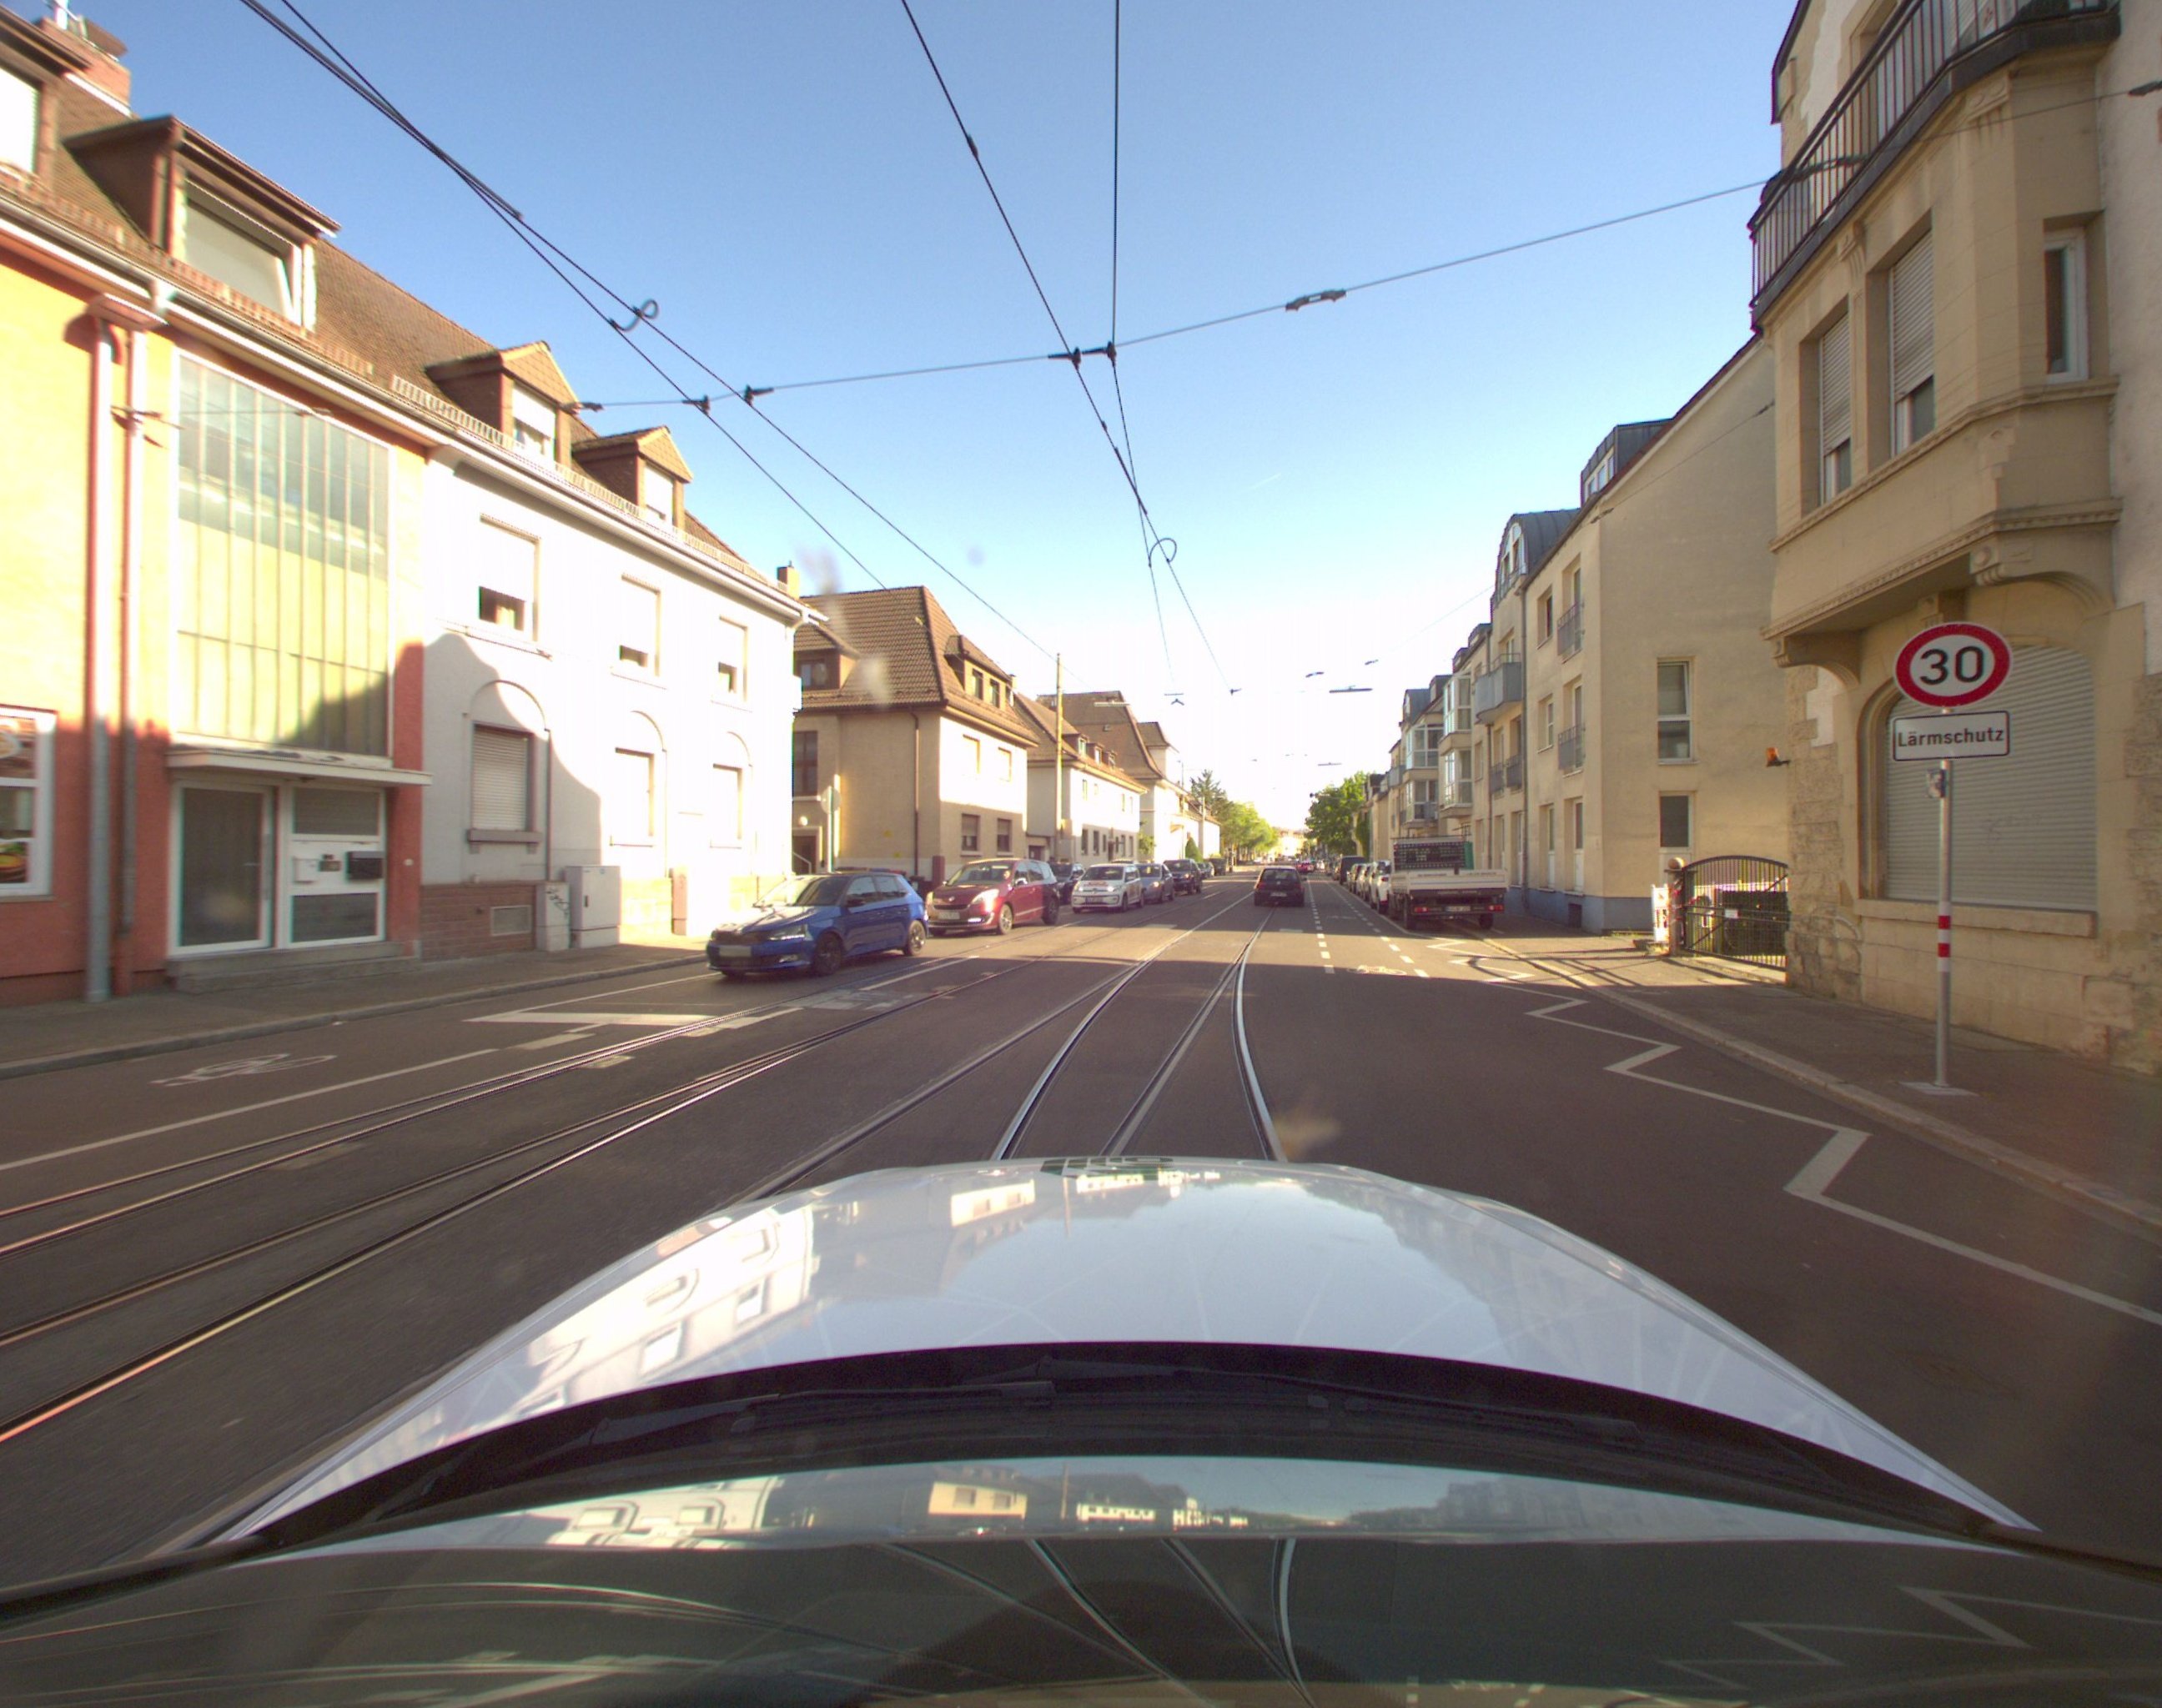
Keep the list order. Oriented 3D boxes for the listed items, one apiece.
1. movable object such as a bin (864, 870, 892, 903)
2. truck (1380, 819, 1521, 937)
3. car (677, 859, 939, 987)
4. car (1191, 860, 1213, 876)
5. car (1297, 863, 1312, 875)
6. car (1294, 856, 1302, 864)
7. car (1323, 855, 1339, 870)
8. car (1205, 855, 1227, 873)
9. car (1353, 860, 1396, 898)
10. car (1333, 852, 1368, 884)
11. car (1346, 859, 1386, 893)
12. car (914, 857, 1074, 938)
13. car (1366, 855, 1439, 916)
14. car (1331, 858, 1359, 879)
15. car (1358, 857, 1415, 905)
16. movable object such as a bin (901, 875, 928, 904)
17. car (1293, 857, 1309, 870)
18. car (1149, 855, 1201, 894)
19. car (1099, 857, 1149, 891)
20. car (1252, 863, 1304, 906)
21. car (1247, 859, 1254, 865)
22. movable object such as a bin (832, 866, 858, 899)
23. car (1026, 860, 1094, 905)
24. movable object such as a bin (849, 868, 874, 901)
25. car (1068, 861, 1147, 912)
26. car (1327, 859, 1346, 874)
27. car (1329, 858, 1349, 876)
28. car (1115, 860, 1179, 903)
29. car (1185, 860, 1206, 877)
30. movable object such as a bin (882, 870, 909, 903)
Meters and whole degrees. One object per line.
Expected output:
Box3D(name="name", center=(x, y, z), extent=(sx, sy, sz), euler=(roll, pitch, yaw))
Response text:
Box3D(name="movable object such as a bin", center=(-7.030, 1.120, 28.267), extent=(0.637, 1.111, 0.675), euler=(2, 0, 15))
Box3D(name="truck", center=(8.976, 0.517, 20.408), extent=(2.278, 2.477, 6.171), euler=(-1, 0, 15))
Box3D(name="car", center=(-3.824, 0.899, 12.200), extent=(1.670, 1.567, 3.946), euler=(-3, -1, 17))
Box3D(name="car", center=(11.722, 1.300, 78.802), extent=(1.664, 1.477, 3.851), euler=(1, 0, 15))
Box3D(name="car", center=(28.106, 1.863, 102.502), extent=(1.727, 1.441, 3.825), euler=(0, 0, 15))
Box3D(name="car", center=(52.104, 1.336, 195.406), extent=(1.775, 1.859, 4.015), euler=(2, 0, 14))
Box3D(name="car", center=(28.259, 0.954, 92.105), extent=(1.653, 1.564, 3.786), euler=(1, 0, 15))
Box3D(name="car", center=(15.313, 1.107, 92.292), extent=(1.891, 2.014, 4.970), euler=(1, 0, 16))
Box3D(name="car", center=(13.156, 1.088, 36.599), extent=(1.486, 1.557, 3.378), euler=(1, 0, 14))
Box3D(name="car", center=(18.056, 0.898, 54.664), extent=(1.892, 1.987, 4.580), euler=(1, 0, 14))
Box3D(name="car", center=(14.191, 1.059, 40.626), extent=(1.543, 1.557, 3.666), euler=(1, 0, 14))
Box3D(name="car", center=(-1.810, 0.910, 18.702), extent=(1.724, 1.611, 4.737), euler=(-2, -1, 19))
Box3D(name="car", center=(10.291, 0.935, 26.350), extent=(1.726, 1.746, 4.273), euler=(1, 0, 15))
Box3D(name="car", center=(21.435, 1.119, 66.248), extent=(1.732, 1.599, 4.449), euler=(1, 0, 13))
Box3D(name="car", center=(11.717, 0.971, 31.444), extent=(1.591, 1.700, 4.005), euler=(1, 0, 14))
Box3D(name="movable object such as a bin", center=(-5.723, 1.214, 28.007), extent=(0.653, 0.944, 0.584), euler=(2, 0, 15))
Box3D(name="car", center=(25.067, 1.081, 92.713), extent=(1.622, 1.372, 3.773), euler=(-1, 0, 16))
Box3D(name="car", center=(4.364, 0.909, 37.258), extent=(1.691, 1.705, 4.381), euler=(-1, -1, 15))
Box3D(name="car", center=(2.352, 1.045, 43.446), extent=(1.749, 1.705, 4.573), euler=(-2, -1, 14))
Box3D(name="car", center=(7.185, 1.044, 29.445), extent=(1.703, 1.402, 4.022), euler=(1, 0, 15))
Box3D(name="car", center=(41.370, 1.976, 198.567), extent=(1.565, 1.477, 3.450), euler=(-1, -1, 9))
Box3D(name="movable object such as a bin", center=(-8.301, 1.005, 28.603), extent=(0.610, 1.111, 0.592), euler=(2, 0, 15))
Box3D(name="car", center=(-0.771, 1.071, 31.955), extent=(1.604, 1.628, 3.936), euler=(-2, -1, 14))
Box3D(name="movable object such as a bin", center=(-7.655, 1.045, 28.420), extent=(0.565, 1.111, 0.592), euler=(2, 0, 15))
Box3D(name="car", center=(0.893, 0.976, 25.557), extent=(1.570, 1.461, 3.629), euler=(-2, -1, 16))
Box3D(name="car", center=(26.321, 1.287, 84.054), extent=(1.590, 1.525, 3.562), euler=(1, 0, 13))
Box3D(name="car", center=(23.993, 1.201, 75.804), extent=(1.447, 1.599, 3.306), euler=(1, 0, 13))
Box3D(name="car", center=(2.521, 0.994, 30.408), extent=(1.605, 1.461, 4.091), euler=(-2, -1, 15))
Box3D(name="car", center=(10.188, 1.274, 72.242), extent=(1.652, 1.477, 4.264), euler=(0, 0, 11))
Box3D(name="movable object such as a bin", center=(-6.395, 1.127, 28.046), extent=(0.611, 1.080, 0.675), euler=(2, 0, 15))
